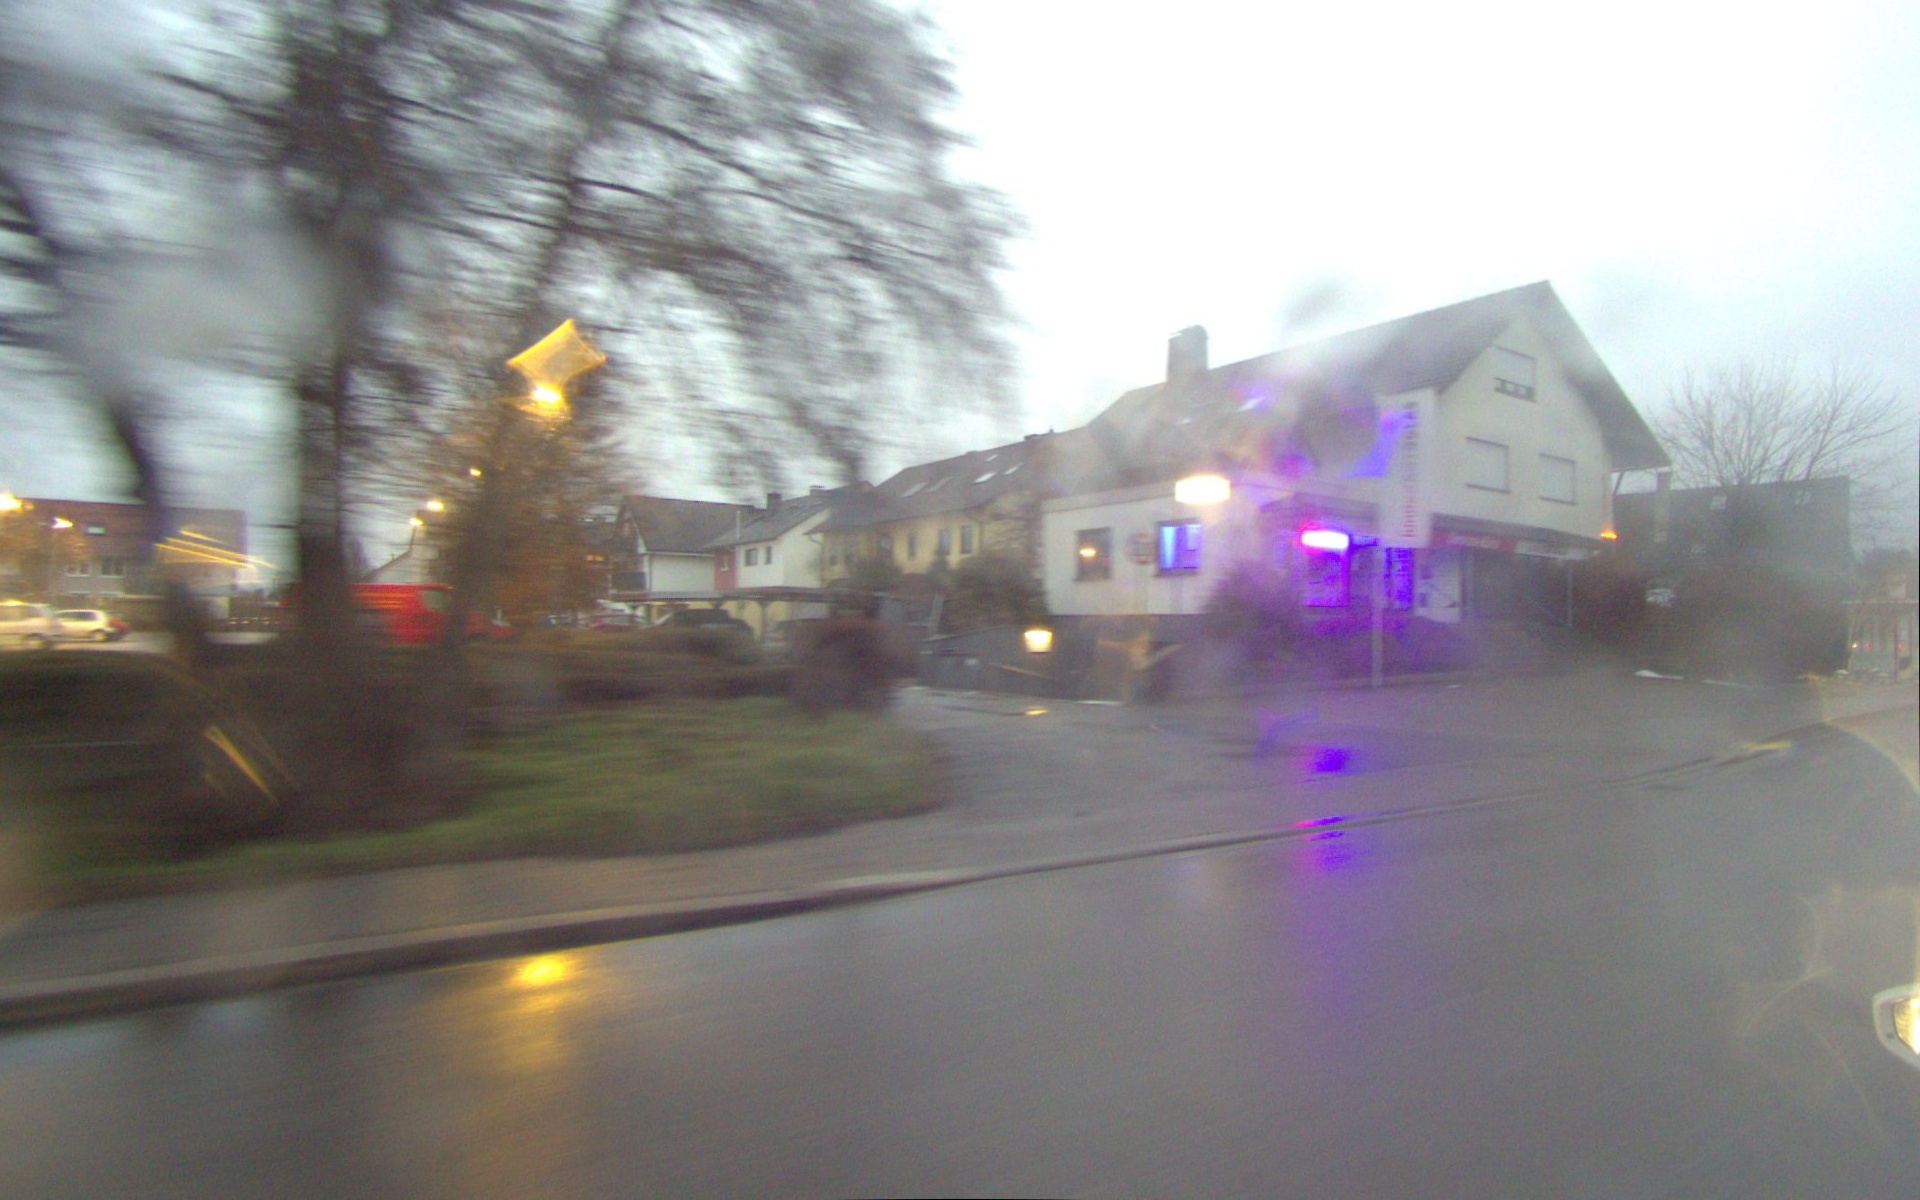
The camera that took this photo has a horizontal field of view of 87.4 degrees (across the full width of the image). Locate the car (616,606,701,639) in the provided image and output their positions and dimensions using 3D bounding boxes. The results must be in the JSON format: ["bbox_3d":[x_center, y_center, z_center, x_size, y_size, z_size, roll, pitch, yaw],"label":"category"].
[{"bbox_3d":[-13.522,1.016,45.060,3.340,1.350,1.424,2,2,-35],"label":"car"}]

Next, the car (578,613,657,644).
[{"bbox_3d":[-16.428,1.380,48.229,3.340,1.350,1.424,2,2,-35],"label":"car"}]

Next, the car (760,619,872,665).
[{"bbox_3d":[-4.753,1.382,33.274,3.340,1.350,1.424,2,2,-35],"label":"car"}]

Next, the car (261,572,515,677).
[{"bbox_3d":[-13.907,0.512,24.643,5.213,2.310,2.267,0,2,-34],"label":"car"}]

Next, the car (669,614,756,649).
[{"bbox_3d":[-10.631,1.349,43.273,3.340,1.350,1.424,2,2,-35],"label":"car"}]
